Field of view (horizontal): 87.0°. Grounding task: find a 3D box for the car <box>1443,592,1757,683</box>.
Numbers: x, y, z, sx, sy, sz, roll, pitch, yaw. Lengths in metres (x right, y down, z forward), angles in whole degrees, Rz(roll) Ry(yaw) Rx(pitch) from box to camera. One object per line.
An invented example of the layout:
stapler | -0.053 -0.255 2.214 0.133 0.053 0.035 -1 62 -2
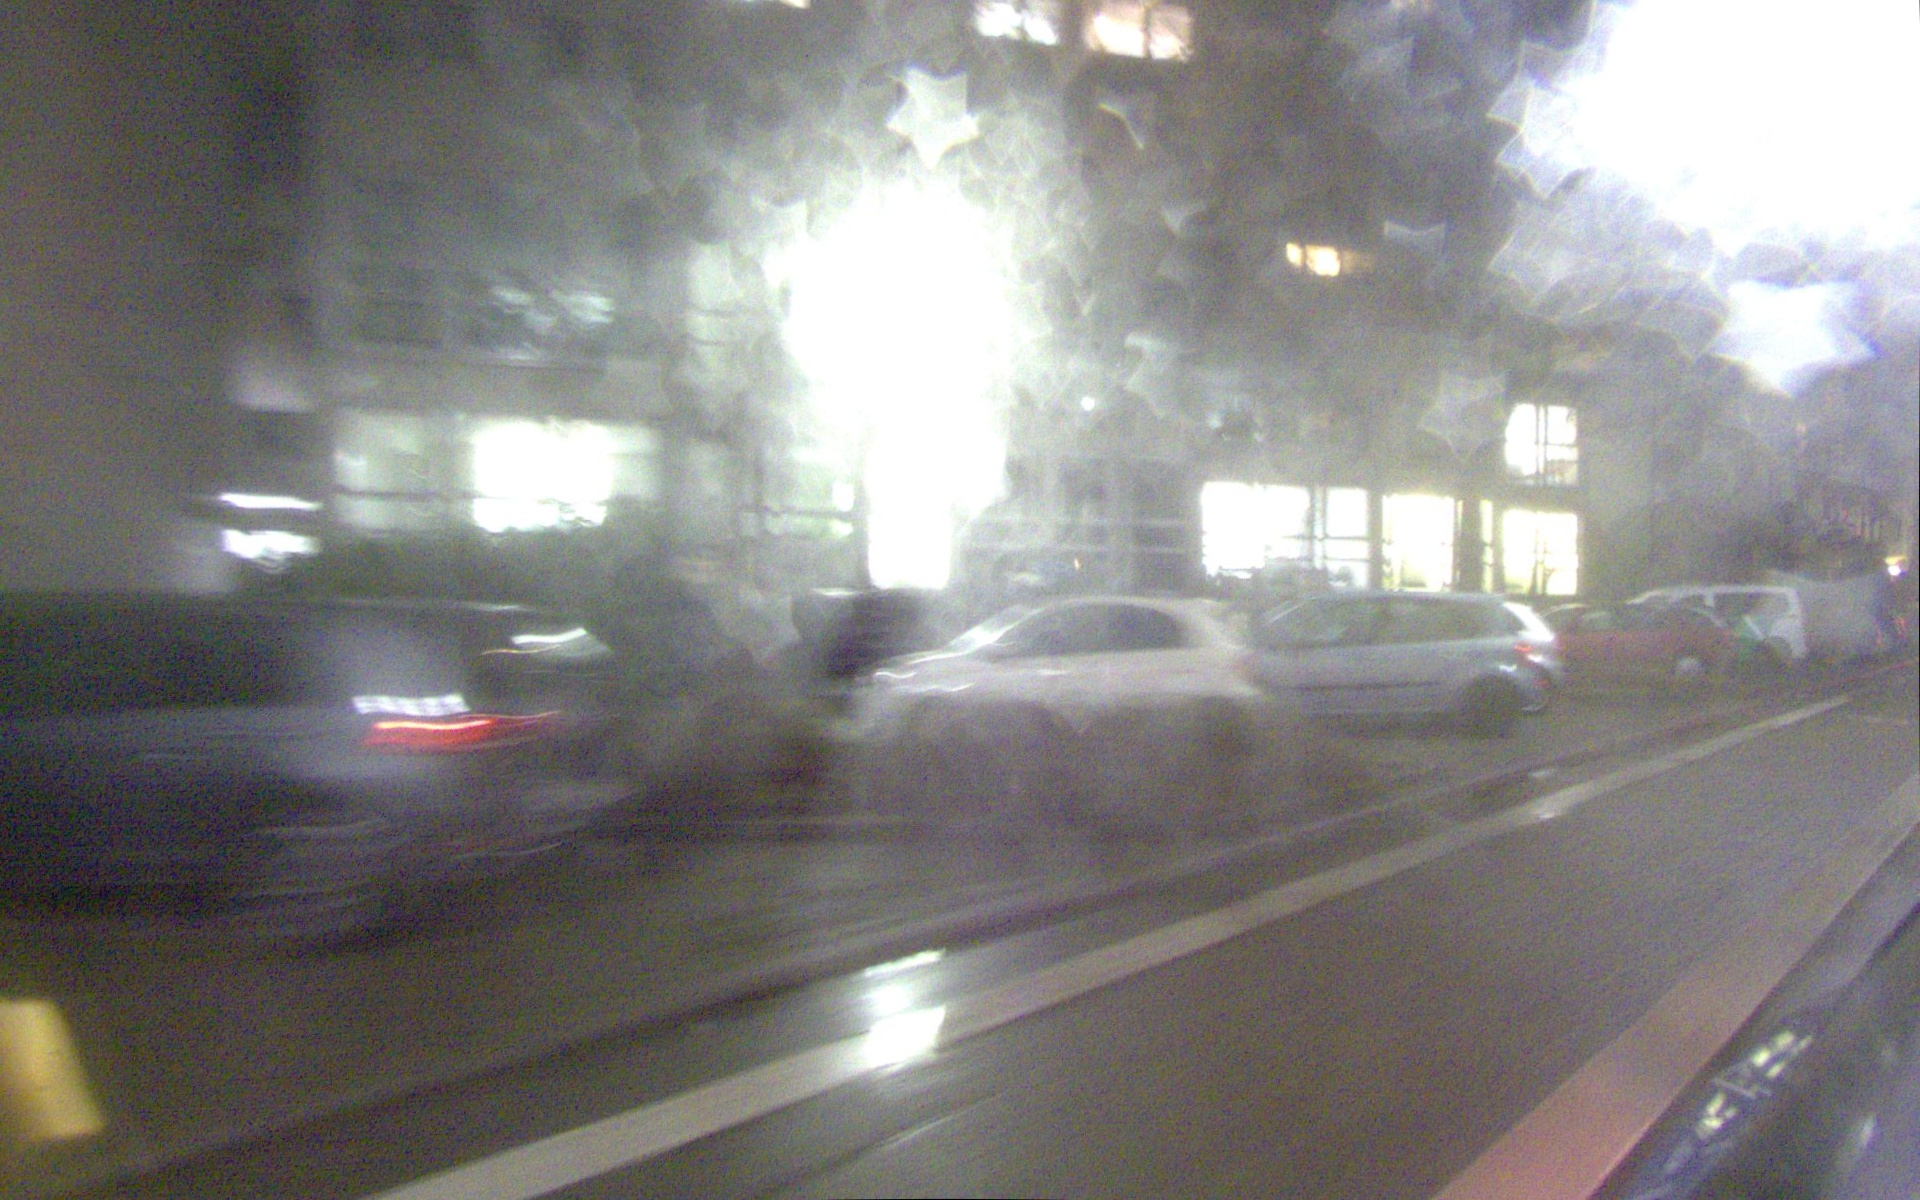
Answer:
car | 11.123 0.626 17.810 4.374 1.422 1.691 1 0 2

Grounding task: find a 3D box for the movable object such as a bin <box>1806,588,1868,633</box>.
movable object such as a bin | 28.631 0.330 33.051 1.341 1.425 1.016 1 1 30

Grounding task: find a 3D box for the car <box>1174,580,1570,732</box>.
car | 4.469 0.591 11.554 3.824 1.553 1.817 -1 0 9

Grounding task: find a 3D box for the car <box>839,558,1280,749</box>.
car | 0.848 0.465 9.410 3.683 1.553 1.702 -1 -1 3

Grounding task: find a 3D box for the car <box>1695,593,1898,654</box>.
car | 21.748 0.599 26.430 3.768 1.457 1.597 -1 -1 6

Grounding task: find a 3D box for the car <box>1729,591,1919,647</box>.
car | 24.264 0.520 28.479 3.785 1.507 1.806 0 1 3

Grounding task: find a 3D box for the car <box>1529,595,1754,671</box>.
car | 13.278 0.622 19.923 3.289 1.403 1.623 -1 0 16

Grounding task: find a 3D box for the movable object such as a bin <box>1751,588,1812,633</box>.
movable object such as a bin | 27.388 0.331 33.765 1.400 1.424 1.016 1 1 30

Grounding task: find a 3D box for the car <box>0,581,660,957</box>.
car | -3.615 0.670 5.011 3.765 1.449 1.633 -1 0 9

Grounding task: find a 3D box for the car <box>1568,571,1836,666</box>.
car | 15.743 0.407 21.714 4.105 1.863 1.957 -1 -1 9

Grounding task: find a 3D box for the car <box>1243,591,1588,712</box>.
car | 5.943 0.661 13.608 3.787 1.452 1.819 -1 0 5
